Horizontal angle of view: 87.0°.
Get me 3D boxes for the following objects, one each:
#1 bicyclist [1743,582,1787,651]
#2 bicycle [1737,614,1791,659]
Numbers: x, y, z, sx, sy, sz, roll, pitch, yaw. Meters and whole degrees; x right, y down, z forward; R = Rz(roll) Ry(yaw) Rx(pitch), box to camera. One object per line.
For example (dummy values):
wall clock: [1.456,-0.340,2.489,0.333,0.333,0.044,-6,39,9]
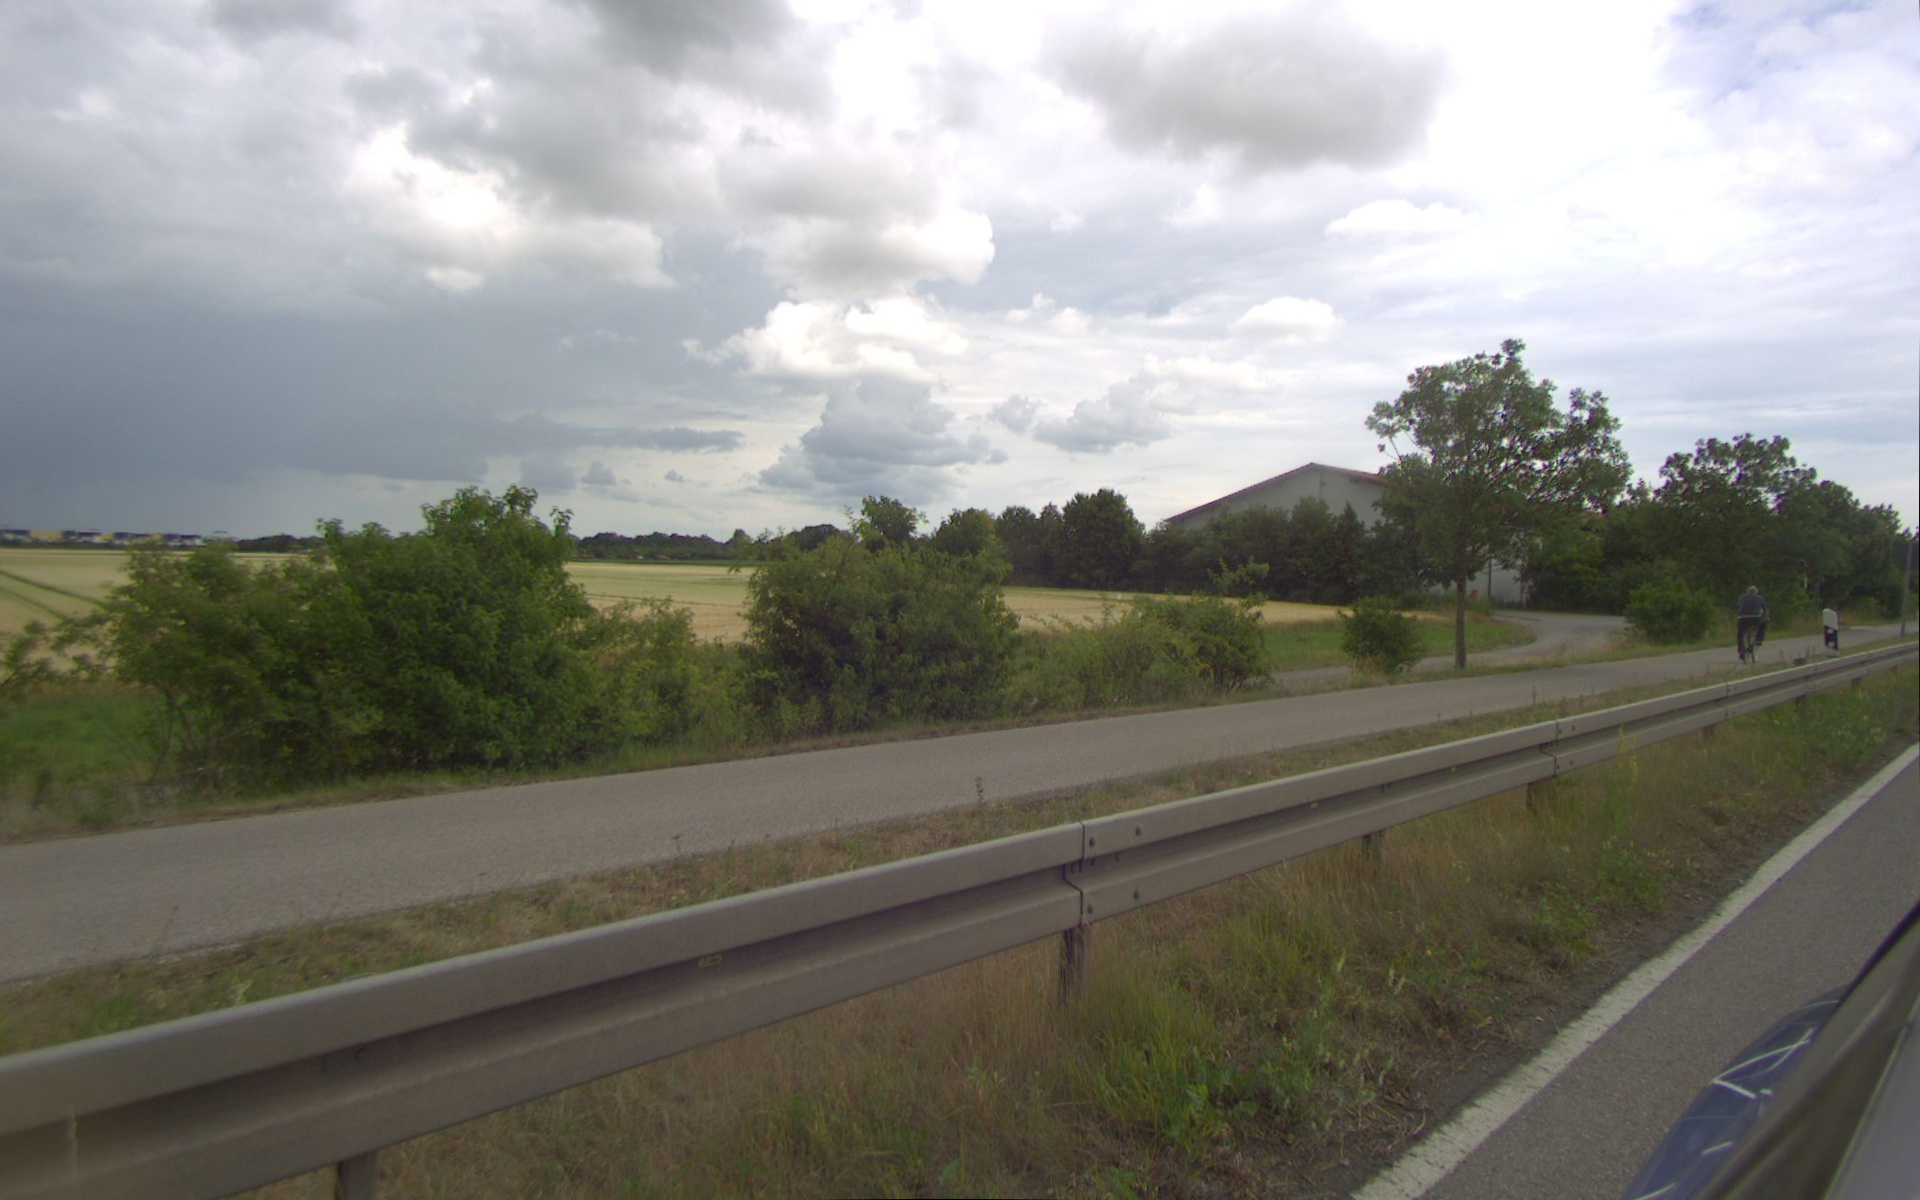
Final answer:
bicyclist: [19.171,0.370,24.106,0.952,1.602,0.640,0,1,-41]
bicycle: [19.176,0.847,24.128,2.036,0.990,0.640,0,2,-41]
